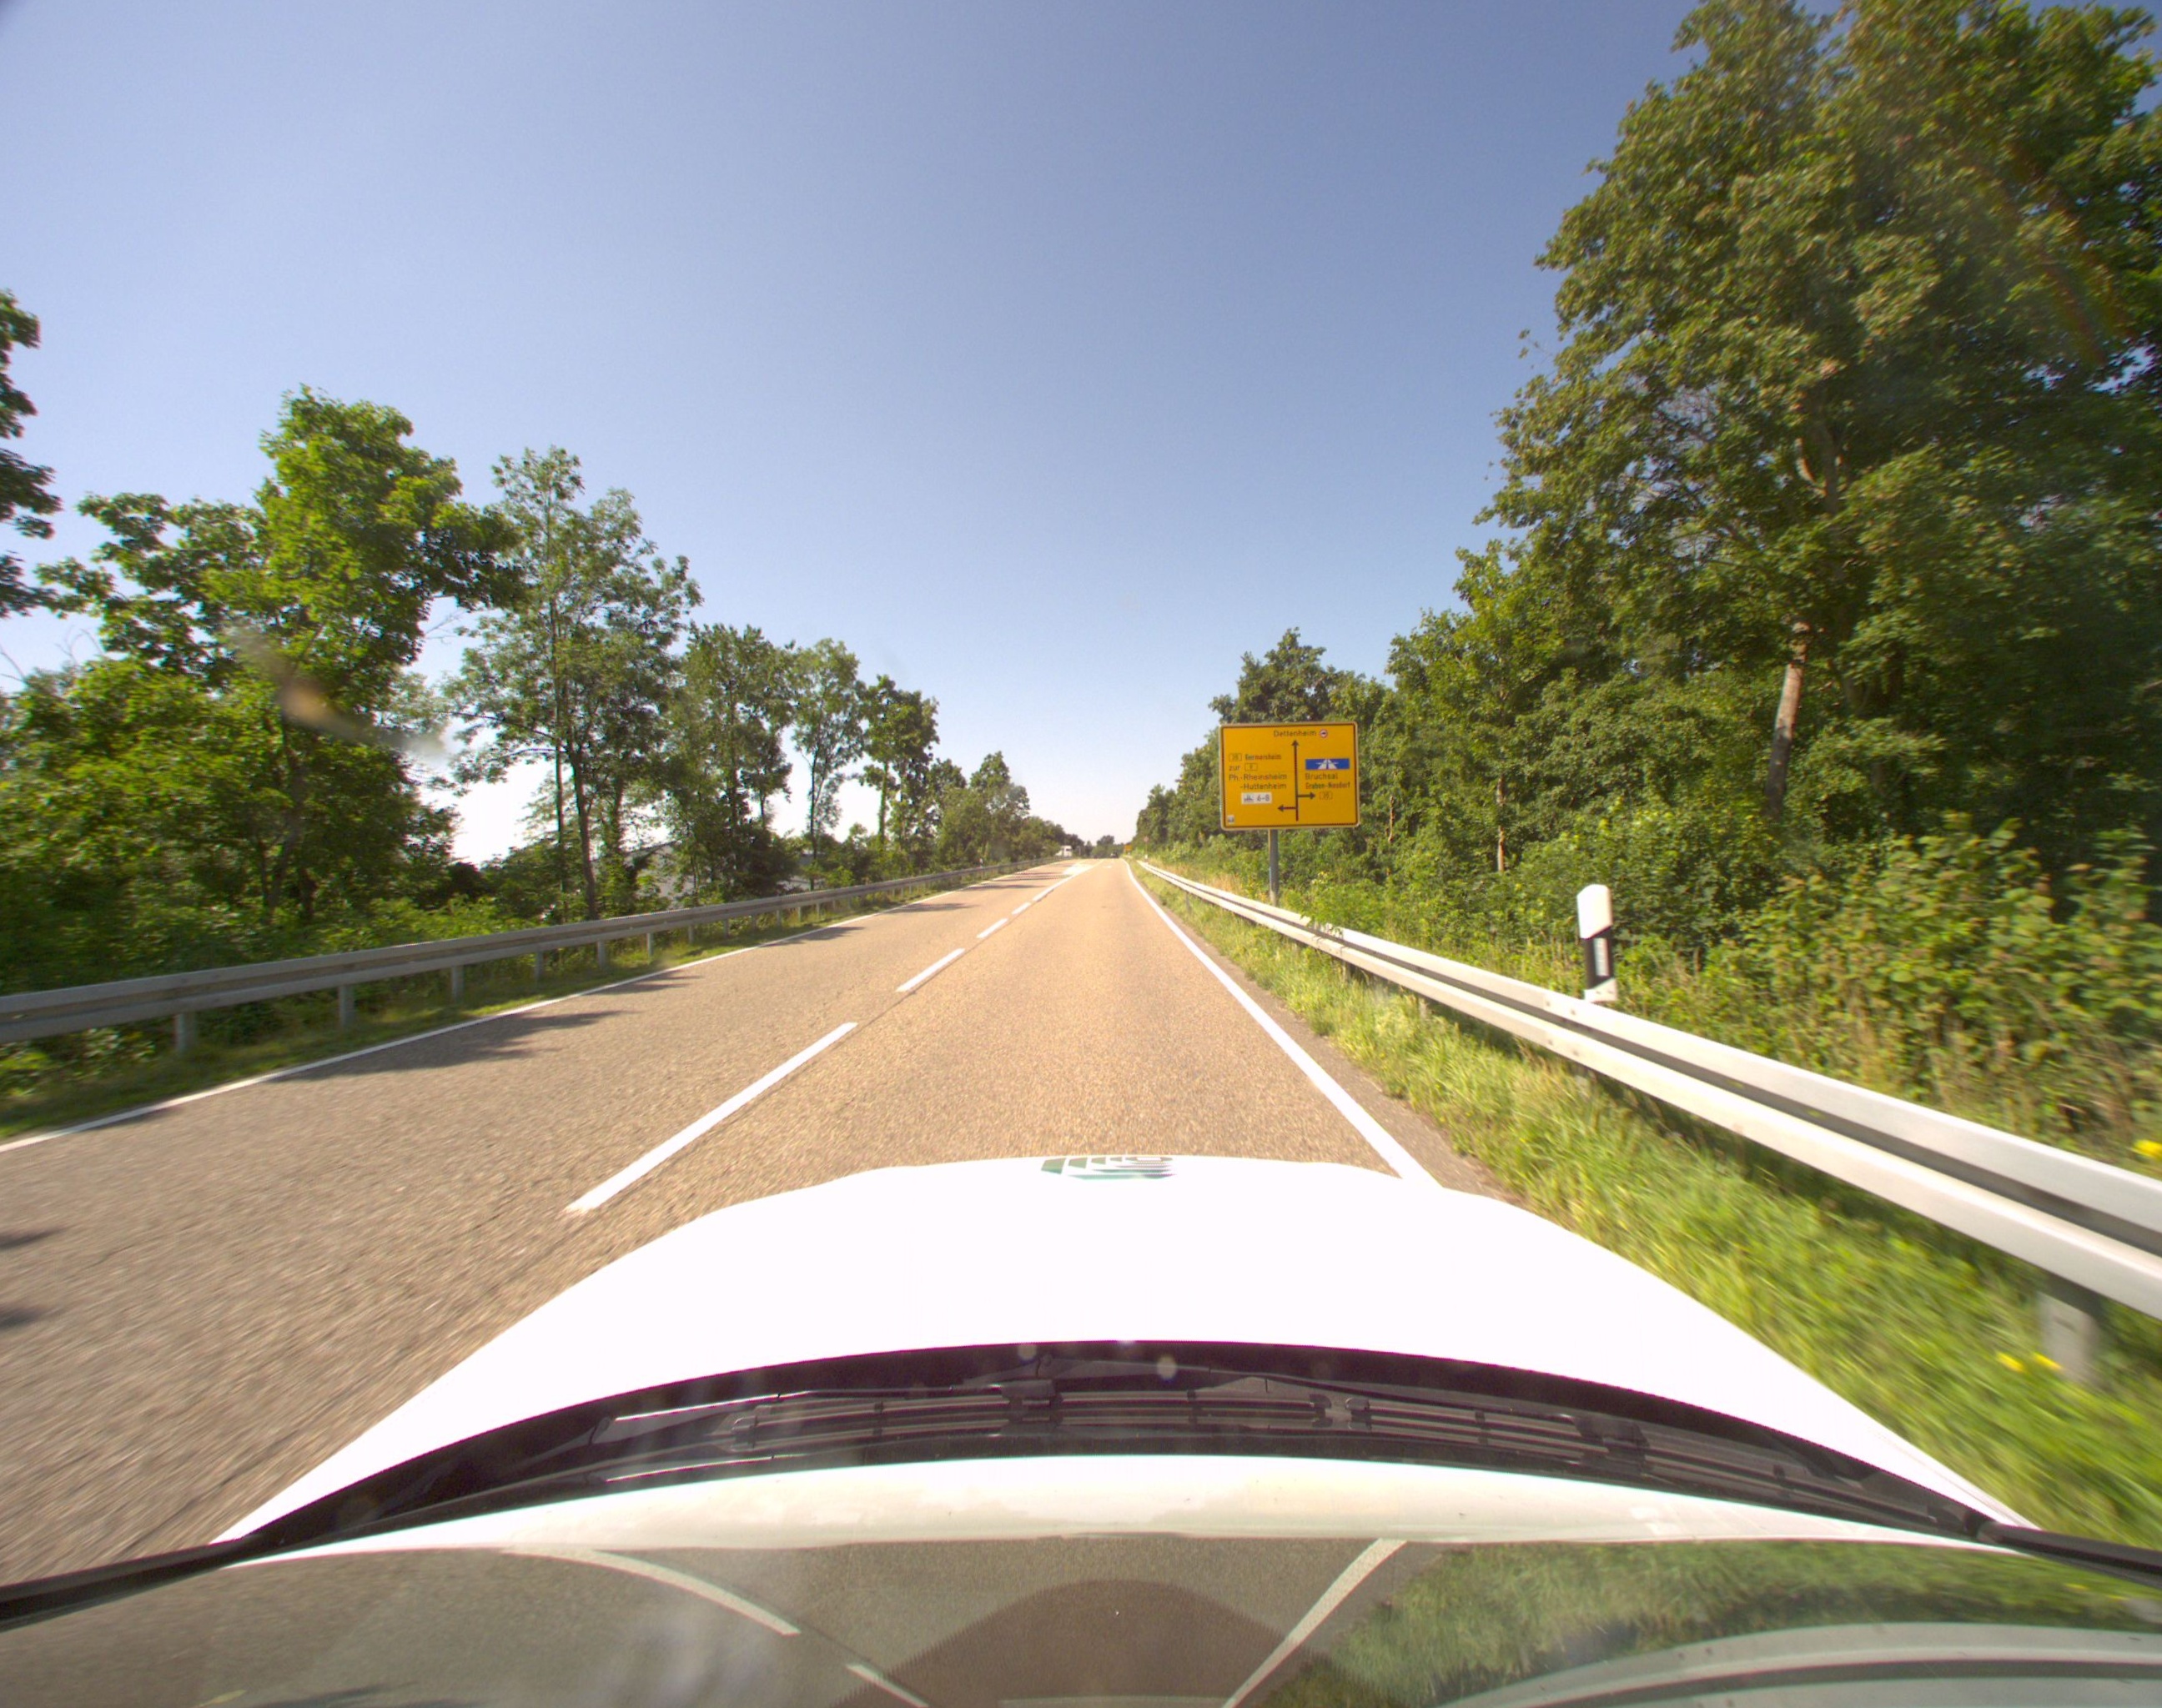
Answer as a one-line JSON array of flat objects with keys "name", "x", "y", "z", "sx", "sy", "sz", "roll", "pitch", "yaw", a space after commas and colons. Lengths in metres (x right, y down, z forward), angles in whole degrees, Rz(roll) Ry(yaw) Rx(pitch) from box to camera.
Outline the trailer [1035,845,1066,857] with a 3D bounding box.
[{"name": "trailer", "x": -9.153, "y": -0.934, "z": 244.766, "sx": 9.062, "sy": 3.578, "sz": 2.002, "roll": -1, "pitch": 0, "yaw": 3}]

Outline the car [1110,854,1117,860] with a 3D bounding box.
[{"name": "car", "x": 7.692, "y": 0.707, "z": 194.068, "sx": 1.734, "sy": 1.470, "sz": 3.694, "roll": -1, "pitch": 0, "yaw": 2}]

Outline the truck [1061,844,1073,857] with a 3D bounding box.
[{"name": "truck", "x": -4.279, "y": -1.059, "z": 244.471, "sx": 3.450, "sy": 3.537, "sz": 2.002, "roll": -1, "pitch": 0, "yaw": 3}]
